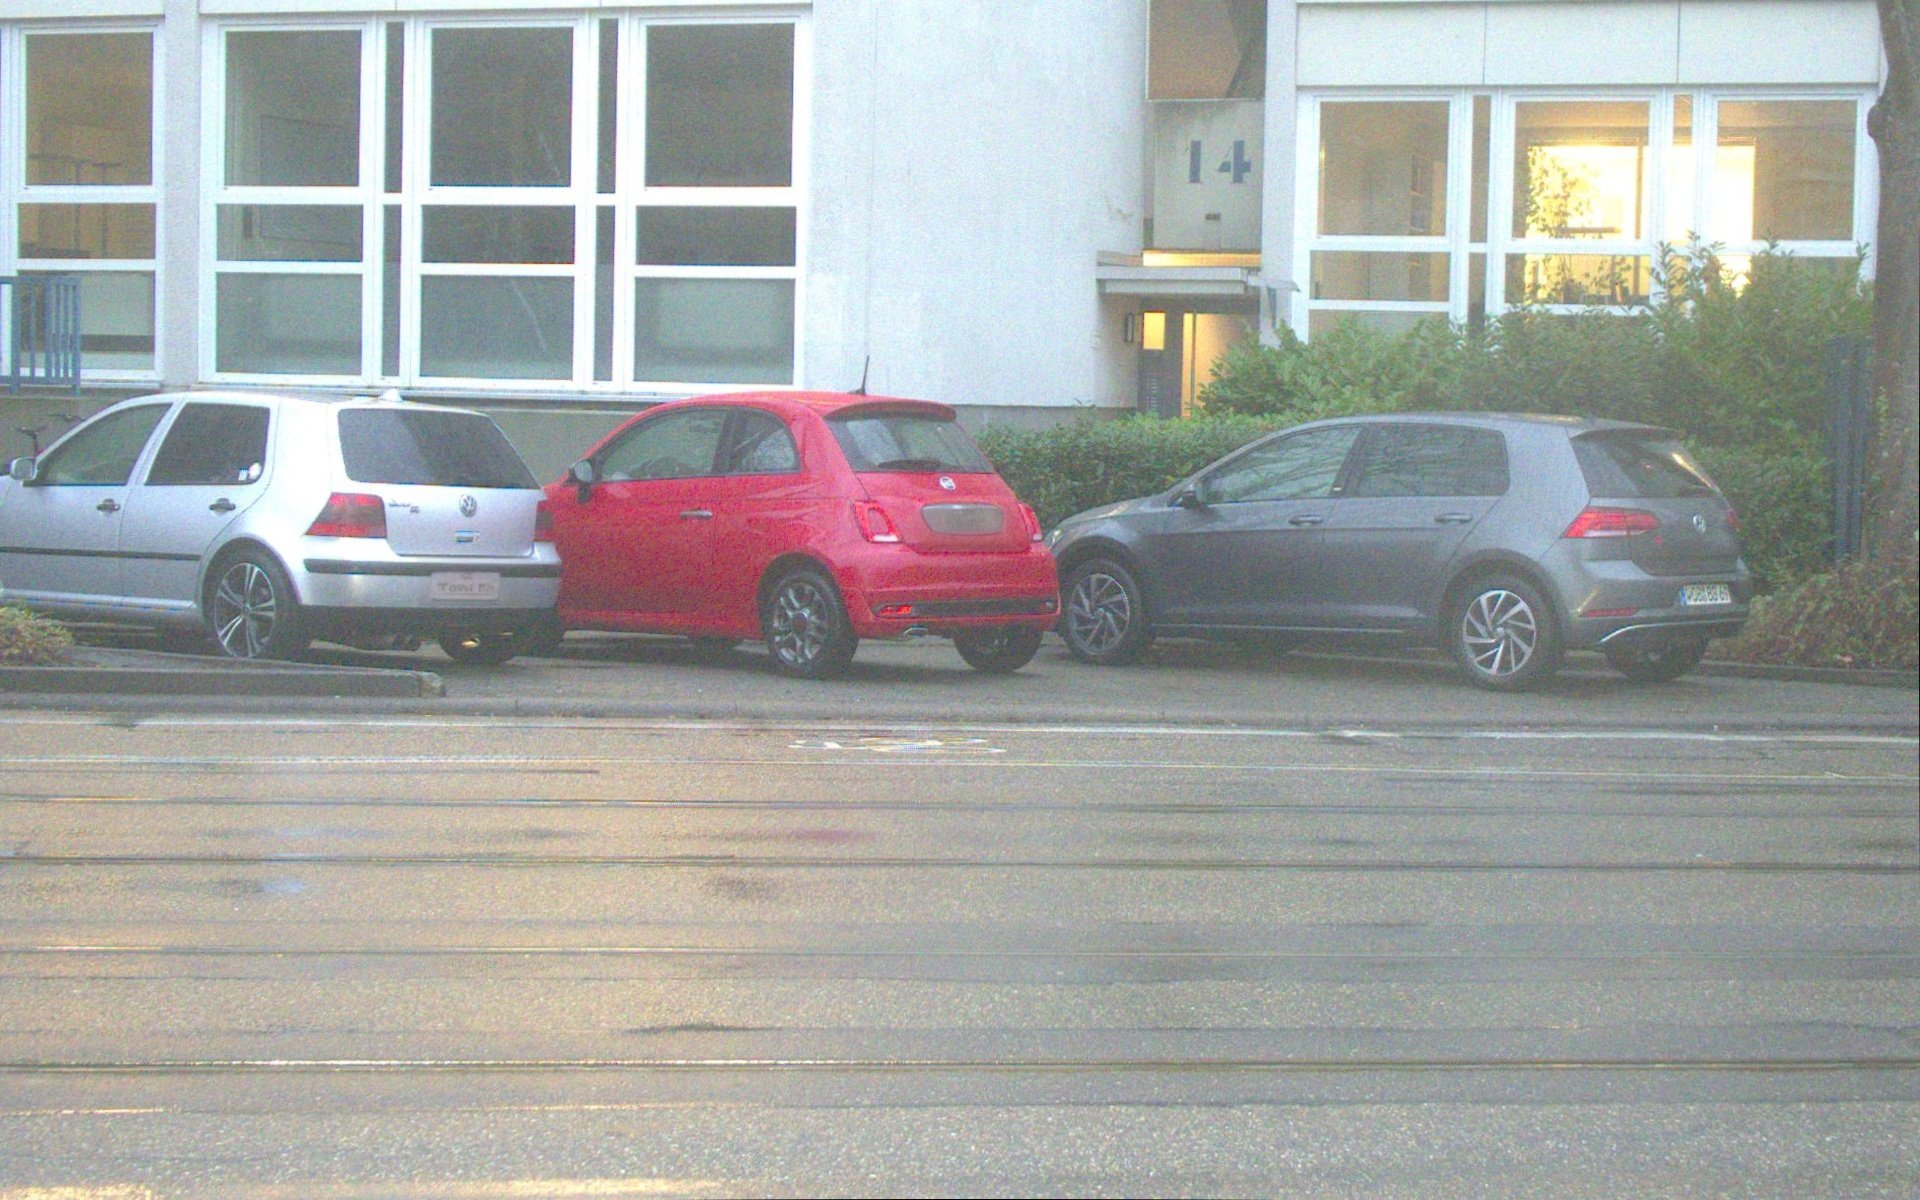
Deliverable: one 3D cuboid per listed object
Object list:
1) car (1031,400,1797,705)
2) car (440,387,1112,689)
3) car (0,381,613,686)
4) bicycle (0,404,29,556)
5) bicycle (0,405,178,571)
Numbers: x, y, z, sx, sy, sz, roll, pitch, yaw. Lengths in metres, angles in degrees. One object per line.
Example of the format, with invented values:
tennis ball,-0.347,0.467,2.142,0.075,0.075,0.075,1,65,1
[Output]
car,2.434,-0.339,18.928,3.850,1.487,1.692,3,4,39
car,-1.059,-0.410,18.834,3.448,1.487,1.725,3,4,41
car,-3.926,-0.429,18.257,3.996,1.441,1.789,3,4,37
bicycle,-7.582,-0.855,24.782,0.640,1.116,2.204,1,3,15
bicycle,-6.388,-0.822,24.466,0.640,1.116,2.204,1,3,15
